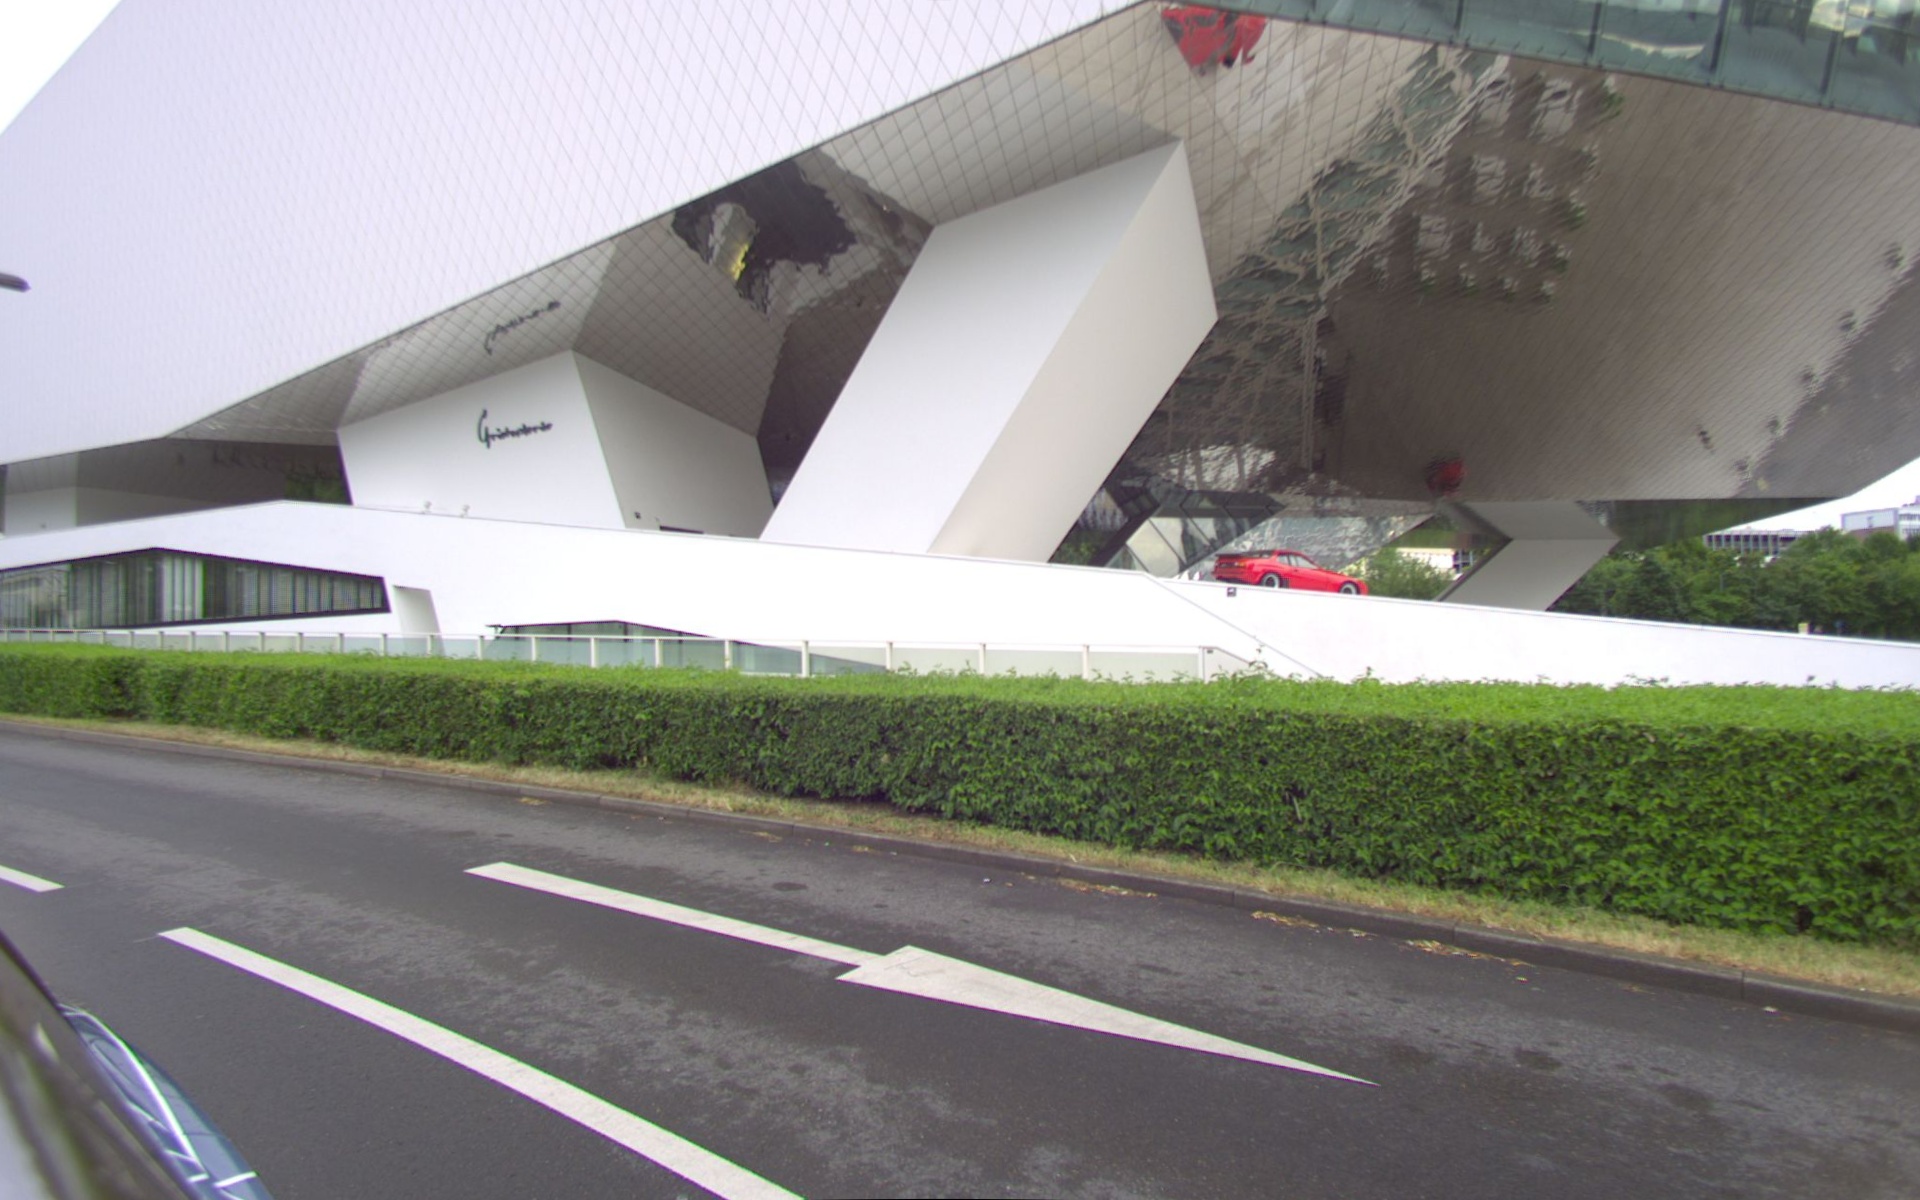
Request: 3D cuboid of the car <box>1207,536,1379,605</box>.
[{"bbox_3d":[8.880,-0.743,27.068,4.032,1.252,1.643,7,-4,-15],"label":"car"}]
